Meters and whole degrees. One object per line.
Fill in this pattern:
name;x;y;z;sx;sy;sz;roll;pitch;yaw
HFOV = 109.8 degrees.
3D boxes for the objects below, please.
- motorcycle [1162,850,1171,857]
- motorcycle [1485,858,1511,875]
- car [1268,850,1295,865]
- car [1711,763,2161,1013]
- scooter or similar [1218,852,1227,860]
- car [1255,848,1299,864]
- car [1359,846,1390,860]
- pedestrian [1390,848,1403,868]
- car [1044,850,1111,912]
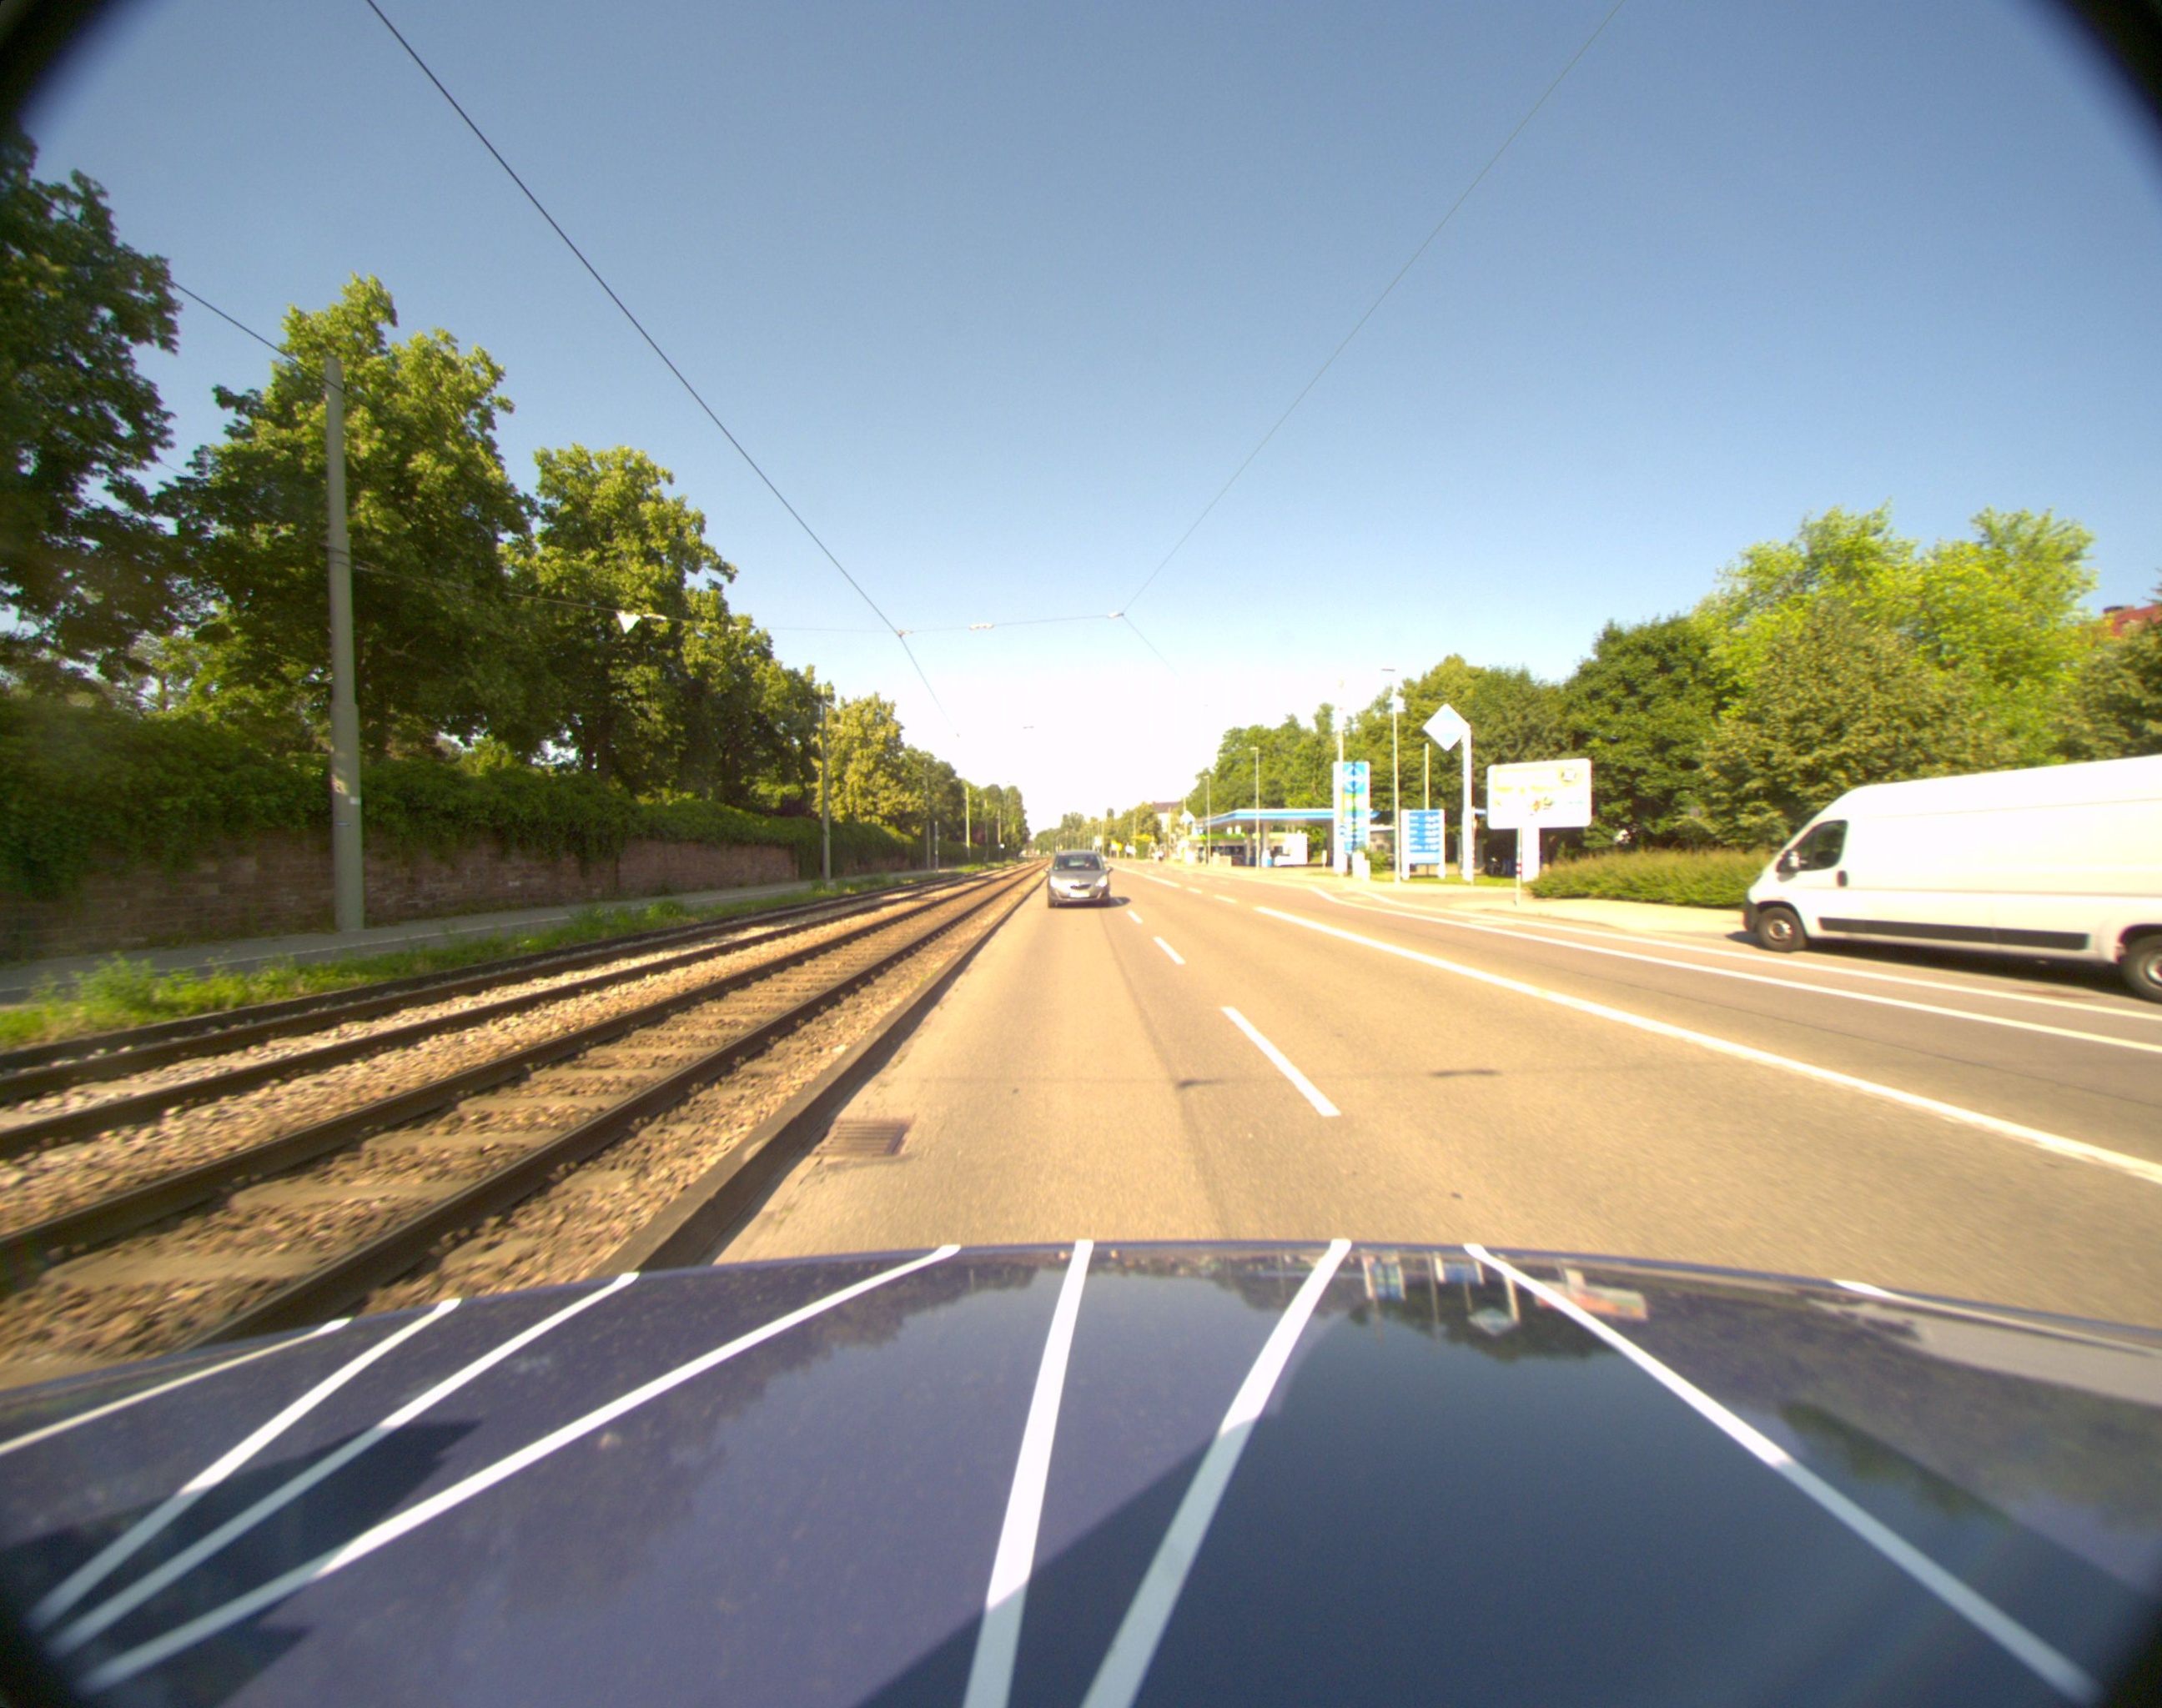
motorcycle;15.678;-0.057;139.901;0.732;1.221;2.268;0;1;33
motorcycle;25.061;0.722;45.701;0.518;0.976;1.905;0;1;-1
car;20.858;0.323;79.251;1.741;1.482;4.274;0;1;0
car;11.555;0.278;9.446;2.158;2.443;6.182;-3;0;-1
scooter or similar;18.027;0.243;97.059;1.143;1.110;0.350;0;1;9
car;24.783;0.266;96.210;5.082;1.929;1.857;0;1;3
car;30.235;-0.102;78.341;1.741;1.437;4.000;0;1;2
pedestrian;26.972;0.337;64.898;0.823;1.703;1.067;0;1;12
car;-0.101;0.705;21.897;1.730;1.574;3.762;-1;1;0
